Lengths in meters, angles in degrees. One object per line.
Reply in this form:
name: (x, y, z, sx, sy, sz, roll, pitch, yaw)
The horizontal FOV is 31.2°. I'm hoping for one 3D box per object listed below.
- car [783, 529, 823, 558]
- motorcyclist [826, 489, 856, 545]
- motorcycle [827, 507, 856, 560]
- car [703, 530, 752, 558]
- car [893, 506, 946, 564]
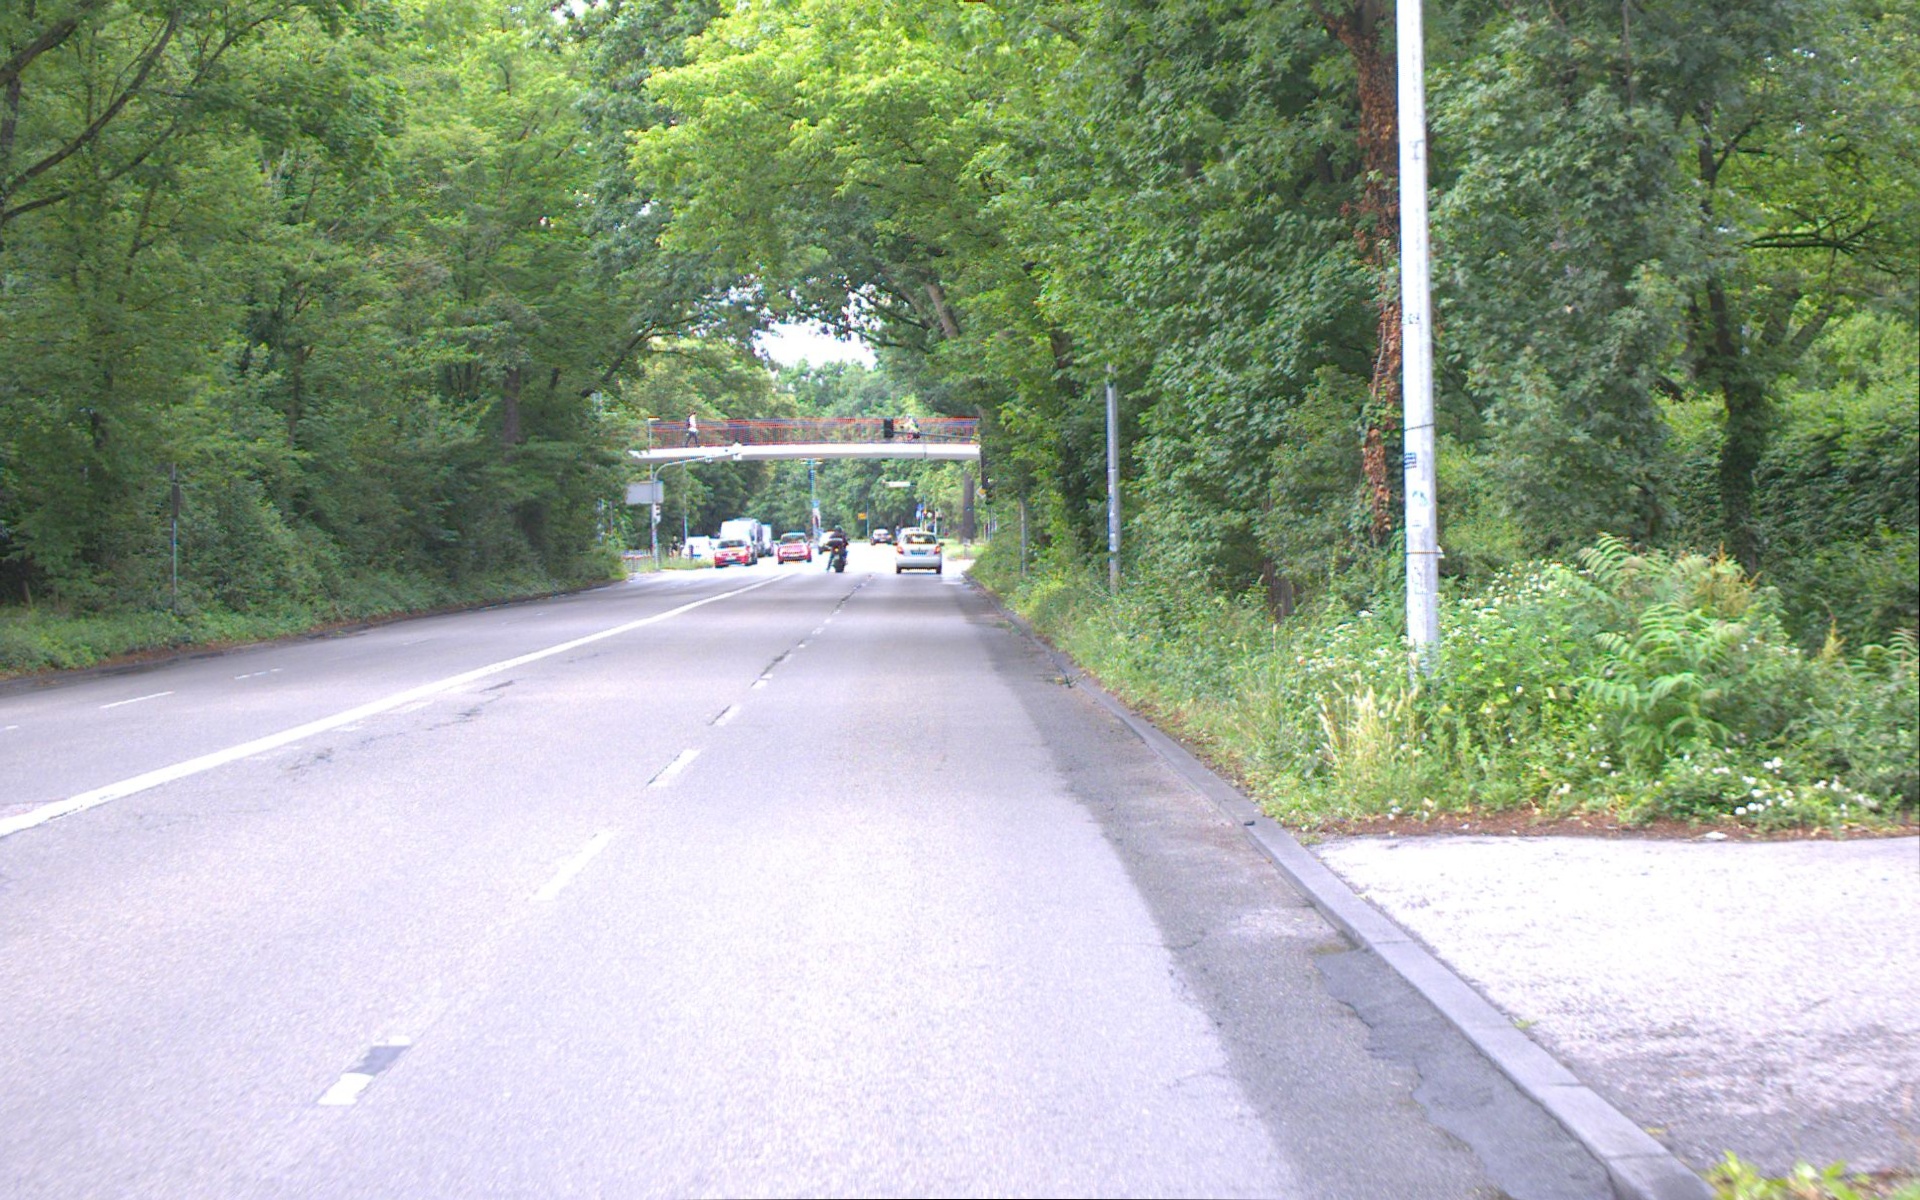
car: (-7.733, -2.791, 169.523, 1.675, 1.357, 3.921, 0, 2, 2)
motorcyclist: (-4.357, -3.042, 125.969, 1.063, 2.007, 0.843, 0, 1, -1)
motorcycle: (-4.342, -2.453, 126.122, 0.990, 1.929, 2.669, 0, 1, -1)
car: (-11.421, -2.753, 168.876, 1.993, 1.349, 3.895, 0, 2, 2)
car: (-1.449, -2.339, 122.403, 1.843, 2.007, 4.000, 0, 2, -1)
